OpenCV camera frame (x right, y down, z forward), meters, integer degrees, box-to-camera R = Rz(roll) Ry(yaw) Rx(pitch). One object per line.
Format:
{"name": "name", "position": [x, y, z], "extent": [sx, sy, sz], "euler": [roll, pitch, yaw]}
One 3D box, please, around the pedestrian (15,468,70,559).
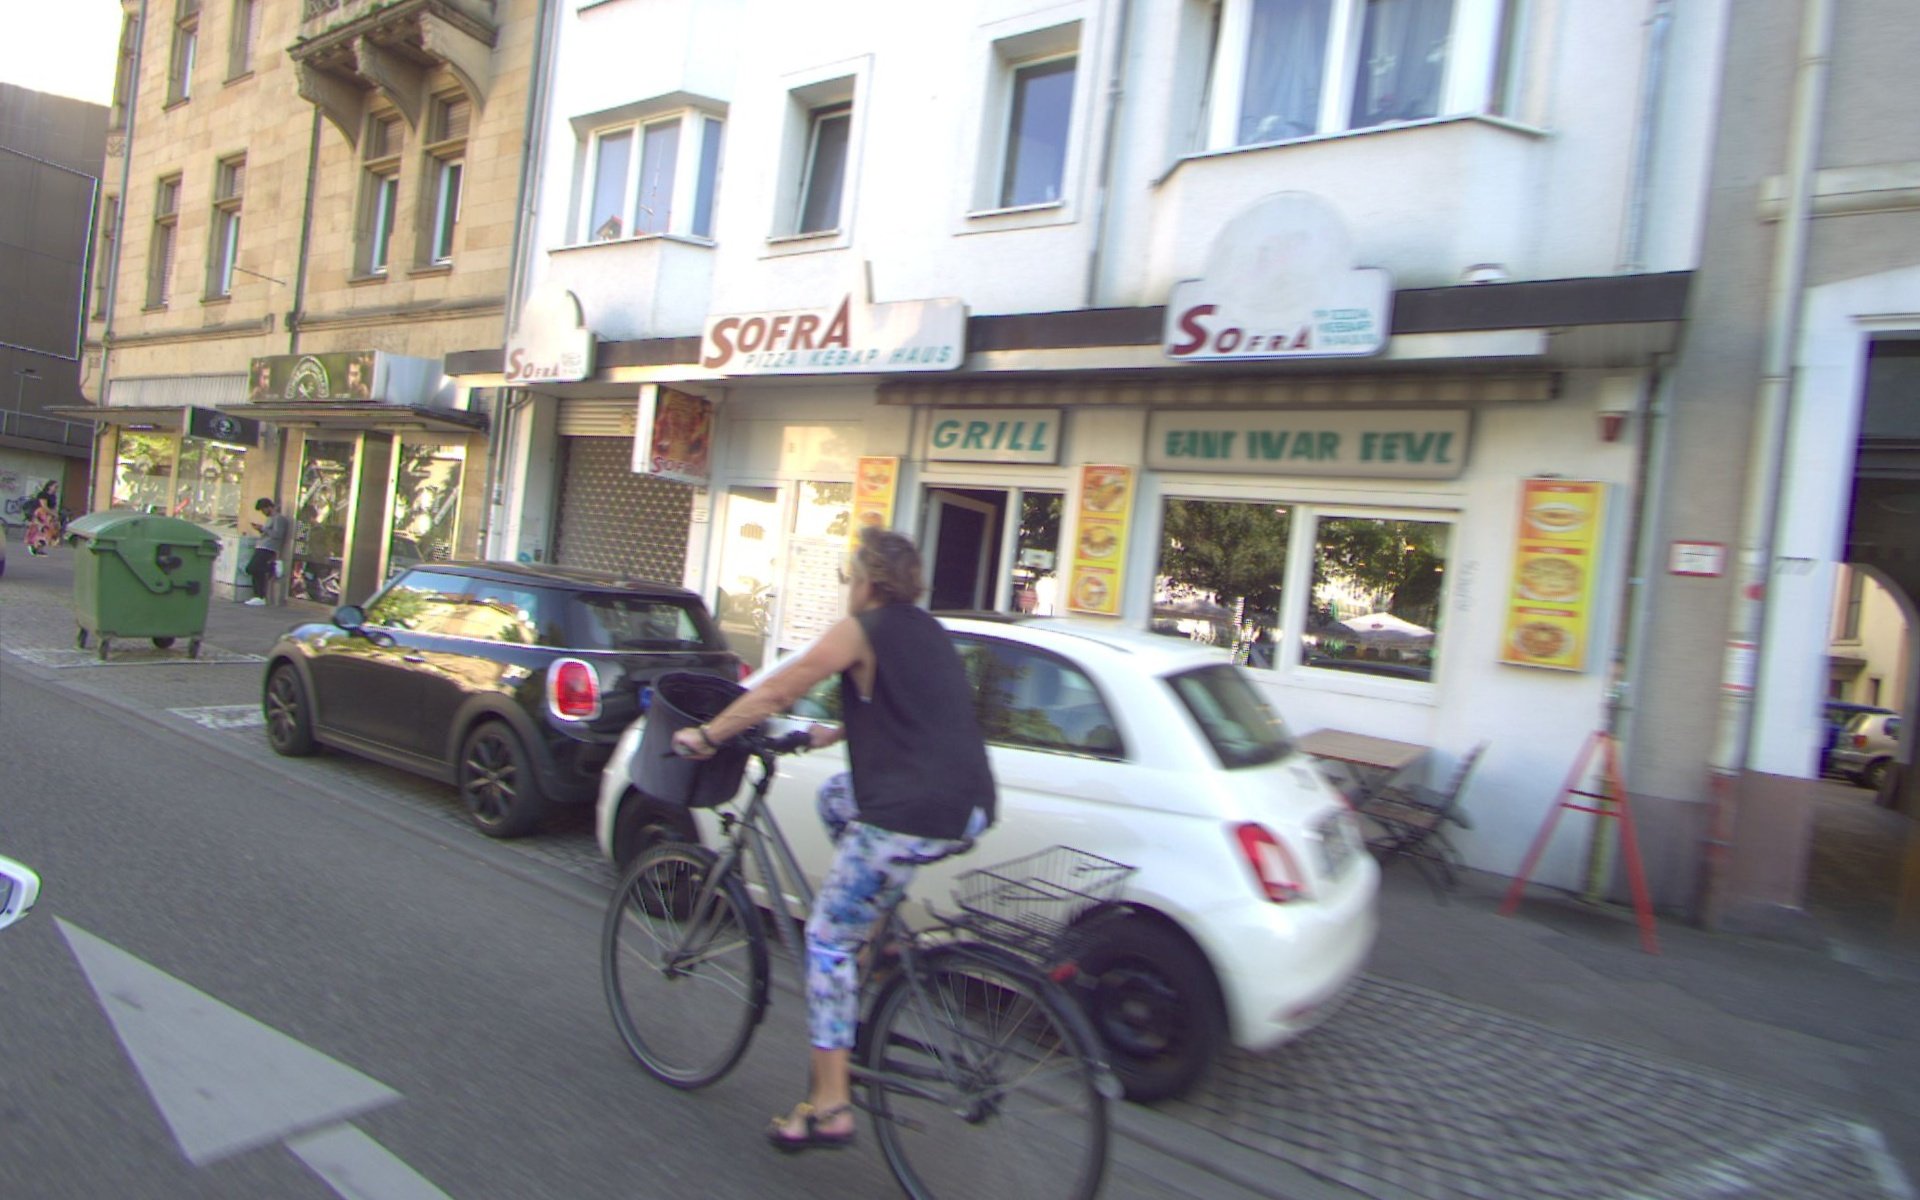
{"name": "pedestrian", "position": [-20.348, -1.906, 22.331], "extent": [0.642, 1.893, 0.621], "euler": [7, -2, -35]}

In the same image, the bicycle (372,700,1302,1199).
{"name": "bicycle", "position": [-0.537, 0.940, 2.780], "extent": [2.654, 0.969, 0.653], "euler": [5, -2, 33]}

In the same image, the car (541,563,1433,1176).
{"name": "car", "position": [0.009, 0.765, 4.506], "extent": [3.525, 1.535, 1.718], "euler": [5, 1, 33]}

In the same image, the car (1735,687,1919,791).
{"name": "car", "position": [18.955, 2.962, 21.102], "extent": [3.934, 1.714, 1.998], "euler": [6, -2, 31]}

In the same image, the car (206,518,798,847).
{"name": "car", "position": [-3.078, 0.396, 6.555], "extent": [3.725, 1.464, 1.681], "euler": [5, -2, 34]}

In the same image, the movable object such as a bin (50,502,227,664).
{"name": "movable object such as a bin", "position": [-8.487, -0.177, 10.392], "extent": [1.470, 1.477, 1.072], "euler": [8, 3, 38]}

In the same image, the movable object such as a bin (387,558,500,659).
{"name": "movable object such as a bin", "position": [-6.510, 0.114, 12.699], "extent": [0.815, 1.136, 0.877], "euler": [6, -2, 33]}

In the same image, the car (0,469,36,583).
{"name": "car", "position": [-16.956, -1.388, 16.124], "extent": [4.747, 1.694, 1.902], "euler": [5, -2, 33]}

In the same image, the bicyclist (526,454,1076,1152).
{"name": "bicyclist", "position": [-0.416, 0.420, 2.740], "extent": [1.078, 1.470, 0.787], "euler": [6, -2, 32]}

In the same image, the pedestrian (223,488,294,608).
{"name": "pedestrian", "position": [-11.119, -0.820, 15.943], "extent": [0.672, 1.811, 0.608], "euler": [6, 1, 32]}
